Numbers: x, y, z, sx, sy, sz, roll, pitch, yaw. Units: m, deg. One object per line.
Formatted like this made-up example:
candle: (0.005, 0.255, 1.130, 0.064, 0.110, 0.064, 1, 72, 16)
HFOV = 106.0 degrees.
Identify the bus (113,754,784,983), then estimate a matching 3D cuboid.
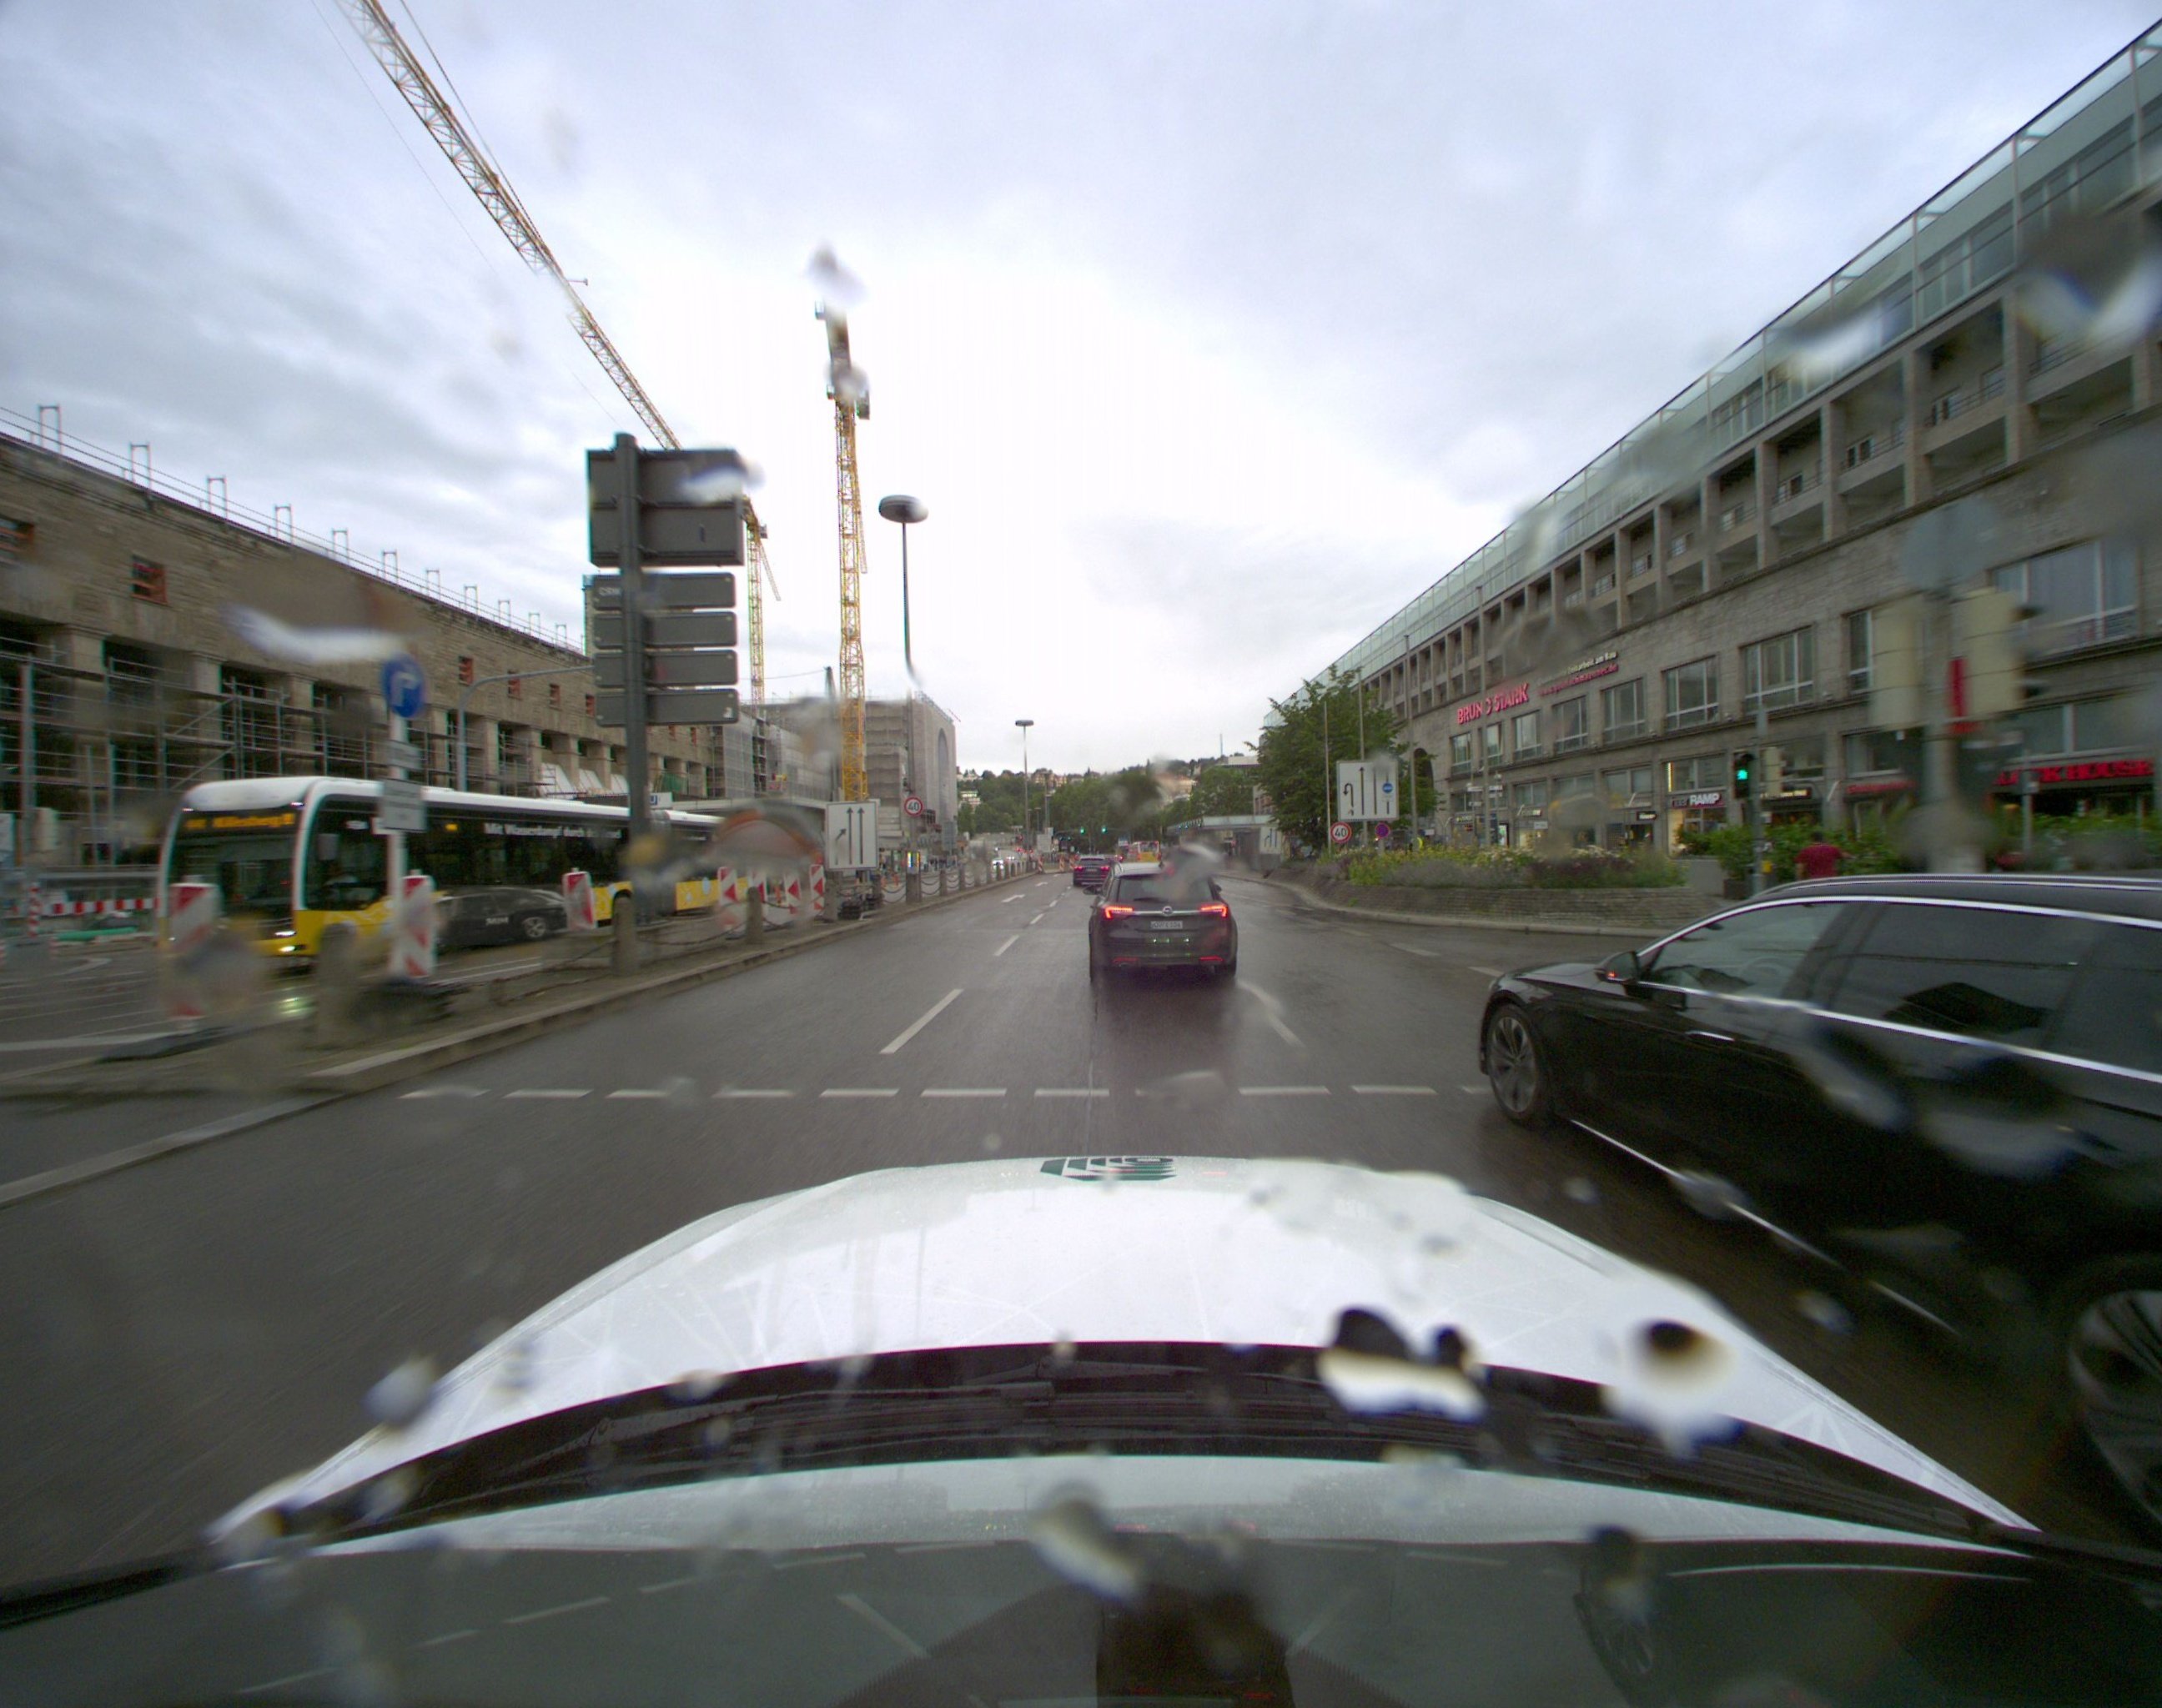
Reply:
bus: (-13.706, 0.252, 22.676, 2.898, 3.577, 19.090, -2, 0, 3)

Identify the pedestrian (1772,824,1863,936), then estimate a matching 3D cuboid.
pedestrian: (12.002, 0.411, 13.293, 0.695, 1.751, 0.836, -1, 0, -1)

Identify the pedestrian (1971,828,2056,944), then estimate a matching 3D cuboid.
pedestrian: (13.363, 0.448, 11.681, 0.623, 1.630, 0.495, -1, 0, 3)

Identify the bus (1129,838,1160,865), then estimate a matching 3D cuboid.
bus: (7.898, -0.260, 102.178, 3.131, 3.247, 9.134, 0, -1, 0)

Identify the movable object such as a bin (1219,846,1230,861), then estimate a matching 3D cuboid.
movable object such as a bin: (15.458, -0.030, 87.746, 0.665, 1.652, 1.040, -1, 0, -23)

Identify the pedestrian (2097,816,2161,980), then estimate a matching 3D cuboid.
pedestrian: (12.092, 0.467, 8.835, 0.887, 1.762, 0.988, -1, 0, 6)

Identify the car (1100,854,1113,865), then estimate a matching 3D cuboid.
car: (3.655, 0.770, 115.510, 1.669, 1.581, 3.238, 0, -1, -1)

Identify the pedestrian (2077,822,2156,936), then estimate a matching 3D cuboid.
pedestrian: (14.446, 0.338, 11.374, 0.422, 1.546, 0.514, -1, 0, 4)

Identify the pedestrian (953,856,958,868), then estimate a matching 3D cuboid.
pedestrian: (-19.124, 1.202, 124.007, 0.571, 1.841, 0.701, -1, 0, -14)

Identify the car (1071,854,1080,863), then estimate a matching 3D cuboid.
car: (-1.154, 0.903, 166.615, 1.700, 1.665, 3.706, 0, -1, 1)

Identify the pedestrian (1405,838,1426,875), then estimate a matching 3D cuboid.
pedestrian: (16.416, 0.126, 39.995, 0.611, 1.751, 0.868, -1, 0, -1)

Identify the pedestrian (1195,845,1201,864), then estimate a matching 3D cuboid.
pedestrian: (14.105, 0.053, 98.091, 0.588, 2.215, 0.587, -1, 0, 2)

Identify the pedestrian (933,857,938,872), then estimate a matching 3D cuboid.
pedestrian: (-17.663, 1.251, 98.592, 0.507, 1.841, 0.703, -1, 0, -6)

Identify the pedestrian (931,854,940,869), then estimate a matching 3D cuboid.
pedestrian: (-18.410, 0.938, 103.374, 0.695, 1.841, 0.883, -1, 0, 29)

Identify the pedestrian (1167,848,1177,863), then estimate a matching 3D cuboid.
pedestrian: (10.586, 0.200, 94.573, 0.762, 1.690, 0.992, -1, 0, -21)

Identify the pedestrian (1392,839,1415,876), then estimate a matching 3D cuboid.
pedestrian: (15.617, 0.165, 39.478, 0.638, 1.751, 1.076, -1, 0, -1)

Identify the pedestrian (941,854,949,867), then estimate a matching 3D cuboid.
pedestrian: (-20.181, 0.995, 120.870, 0.835, 1.841, 1.059, -1, 0, 3)

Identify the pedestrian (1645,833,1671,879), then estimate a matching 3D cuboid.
pedestrian: (22.488, 0.080, 31.768, 0.530, 1.751, 0.636, -1, 0, -1)

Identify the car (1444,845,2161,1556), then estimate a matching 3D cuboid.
car: (3.206, 0.720, 2.959, 1.811, 1.464, 4.702, -1, 0, 2)

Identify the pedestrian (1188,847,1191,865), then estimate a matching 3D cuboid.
pedestrian: (11.054, 0.211, 82.710, 0.242, 1.836, 0.512, -1, 0, 4)

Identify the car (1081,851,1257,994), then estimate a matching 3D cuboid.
car: (1.016, 0.745, 11.227, 1.870, 1.508, 4.853, -1, 0, 1)

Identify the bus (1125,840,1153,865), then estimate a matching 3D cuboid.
bus: (7.876, -0.162, 111.343, 3.104, 3.205, 9.238, 0, -1, -1)

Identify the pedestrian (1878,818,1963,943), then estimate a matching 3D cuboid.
pedestrian: (12.383, 0.380, 12.026, 0.533, 1.790, 0.682, -1, 0, 4)

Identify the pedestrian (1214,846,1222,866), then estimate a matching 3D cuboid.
pedestrian: (13.140, 0.202, 77.968, 0.625, 1.836, 0.642, -1, 0, 2)

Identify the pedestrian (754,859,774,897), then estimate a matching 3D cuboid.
pedestrian: (-16.638, 1.227, 42.764, 0.757, 1.959, 0.822, -1, -1, -3)

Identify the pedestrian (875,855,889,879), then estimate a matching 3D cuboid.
pedestrian: (-15.353, 0.995, 62.874, 0.771, 1.790, 0.862, -1, 0, 7)

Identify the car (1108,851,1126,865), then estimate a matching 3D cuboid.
car: (4.307, 0.501, 98.710, 1.847, 1.717, 3.996, 0, -1, -2)

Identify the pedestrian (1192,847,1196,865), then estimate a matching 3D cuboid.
pedestrian: (11.420, 0.205, 82.614, 0.345, 1.836, 0.533, -1, 0, 3)

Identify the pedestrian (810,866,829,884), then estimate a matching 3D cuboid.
pedestrian: (-17.993, 1.445, 56.099, 0.946, 1.158, 1.055, -1, 0, 0)

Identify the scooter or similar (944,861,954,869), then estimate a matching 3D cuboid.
scooter or similar: (-17.063, 1.404, 105.122, 0.454, 1.066, 1.248, -1, 0, 35)

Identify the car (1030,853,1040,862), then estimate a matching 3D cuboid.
car: (-10.340, 0.770, 181.477, 1.991, 2.014, 5.359, 0, -1, -5)

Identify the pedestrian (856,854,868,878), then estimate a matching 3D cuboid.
pedestrian: (-16.988, 0.936, 63.105, 0.785, 1.790, 0.666, -1, 0, -28)

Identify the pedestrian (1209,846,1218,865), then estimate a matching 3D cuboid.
pedestrian: (12.859, 0.102, 79.048, 0.673, 1.836, 0.574, -1, 0, 2)

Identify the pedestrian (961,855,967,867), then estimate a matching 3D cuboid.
pedestrian: (-17.556, 1.009, 122.367, 0.876, 1.841, 0.834, -1, 0, -14)

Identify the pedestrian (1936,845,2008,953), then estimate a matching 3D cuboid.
pedestrian: (12.869, 0.638, 11.774, 0.496, 1.521, 0.471, -1, 0, 4)

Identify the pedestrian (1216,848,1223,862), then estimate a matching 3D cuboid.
pedestrian: (16.249, 0.099, 95.389, 0.745, 1.695, 0.902, -1, 0, 3)

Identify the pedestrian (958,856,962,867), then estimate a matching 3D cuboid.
pedestrian: (-19.976, 1.223, 134.532, 0.682, 1.685, 0.834, -1, 0, -14)

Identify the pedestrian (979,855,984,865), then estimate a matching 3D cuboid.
pedestrian: (-18.571, 1.124, 152.006, 0.696, 1.841, 0.528, -2, 0, -3)

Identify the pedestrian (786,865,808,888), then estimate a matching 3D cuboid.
pedestrian: (-17.882, 1.410, 51.324, 1.052, 1.432, 0.830, -1, 0, -1)

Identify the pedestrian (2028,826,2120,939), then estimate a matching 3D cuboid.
pedestrian: (13.968, 0.391, 11.467, 0.551, 1.529, 0.592, -1, 0, 4)

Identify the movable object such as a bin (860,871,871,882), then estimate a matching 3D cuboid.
movable object such as a bin: (-16.154, 1.669, 60.974, 0.505, 0.789, 0.638, -3, -1, 45)

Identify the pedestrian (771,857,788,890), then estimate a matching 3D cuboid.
pedestrian: (-16.926, 1.097, 45.741, 0.723, 1.790, 0.746, -1, 0, -6)

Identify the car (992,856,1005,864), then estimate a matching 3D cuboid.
car: (-16.292, 1.203, 160.830, 1.987, 1.468, 3.999, 0, -1, 0)

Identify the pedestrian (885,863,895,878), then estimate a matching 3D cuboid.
pedestrian: (-17.430, 1.485, 74.369, 0.697, 1.326, 0.805, -1, 0, -1)

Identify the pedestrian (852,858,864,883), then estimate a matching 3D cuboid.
pedestrian: (-16.562, 1.240, 60.439, 0.682, 1.848, 0.551, -1, -1, -44)

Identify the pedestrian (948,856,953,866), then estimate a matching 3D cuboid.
pedestrian: (-21.353, 1.215, 133.611, 0.674, 1.613, 0.839, -1, 0, 2)

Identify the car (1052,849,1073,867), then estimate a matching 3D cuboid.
car: (-1.959, 0.461, 88.835, 1.986, 1.862, 4.834, -2, 0, 1)

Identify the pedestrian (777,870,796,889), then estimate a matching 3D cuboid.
pedestrian: (-17.821, 1.530, 49.307, 0.841, 1.093, 0.925, -1, 0, -1)

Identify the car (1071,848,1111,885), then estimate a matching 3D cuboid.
car: (0.520, 0.582, 40.534, 1.824, 1.686, 4.135, -2, 0, 1)
